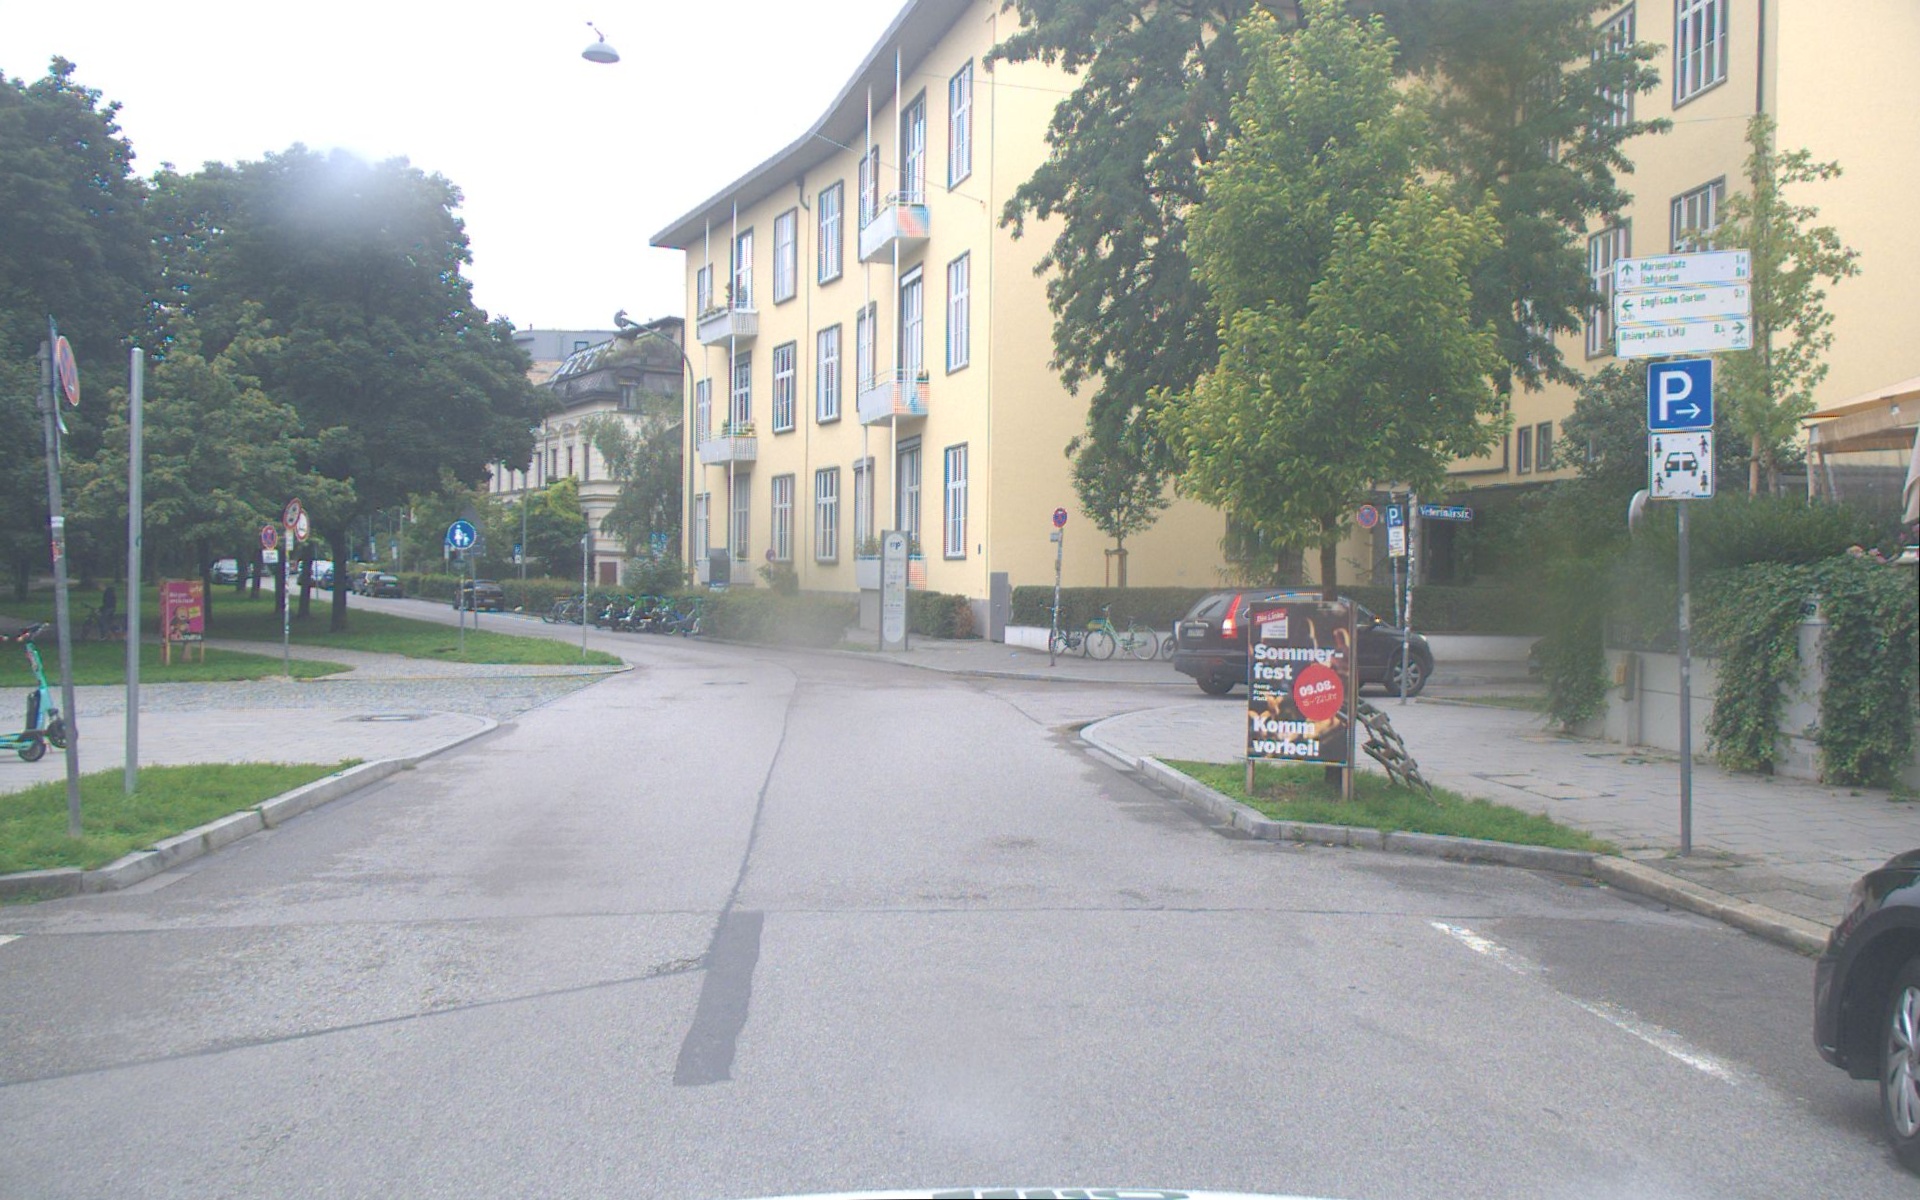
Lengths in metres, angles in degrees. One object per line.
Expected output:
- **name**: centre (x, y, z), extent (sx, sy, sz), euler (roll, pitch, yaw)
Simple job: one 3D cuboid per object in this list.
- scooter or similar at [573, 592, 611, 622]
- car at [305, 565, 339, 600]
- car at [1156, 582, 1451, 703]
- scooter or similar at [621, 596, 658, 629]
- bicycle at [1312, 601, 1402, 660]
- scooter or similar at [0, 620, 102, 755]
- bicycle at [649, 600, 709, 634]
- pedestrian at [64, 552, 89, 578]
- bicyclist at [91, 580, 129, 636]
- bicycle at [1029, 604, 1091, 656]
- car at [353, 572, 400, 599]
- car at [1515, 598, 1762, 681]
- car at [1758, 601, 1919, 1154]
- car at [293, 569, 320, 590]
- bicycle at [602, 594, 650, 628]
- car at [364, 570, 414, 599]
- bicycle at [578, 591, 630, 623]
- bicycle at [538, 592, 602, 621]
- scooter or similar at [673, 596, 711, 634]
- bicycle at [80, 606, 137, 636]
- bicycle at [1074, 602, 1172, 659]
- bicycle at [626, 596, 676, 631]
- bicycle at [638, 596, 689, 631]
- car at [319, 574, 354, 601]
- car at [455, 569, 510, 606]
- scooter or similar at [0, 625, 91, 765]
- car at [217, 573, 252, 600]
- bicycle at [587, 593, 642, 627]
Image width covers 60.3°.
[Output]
- **scooter or similar**: centre (-13.907, 0.262, 62.553), extent (1.379, 1.107, 0.595), euler (-1, 1, -11)
- **car**: centre (-48.636, -1.346, 126.050), extent (1.854, 2.613, 4.886), euler (0, 0, -28)
- **car**: centre (5.495, 0.614, 26.485), extent (4.309, 1.723, 1.987), euler (-1, 1, -24)
- **scooter or similar**: centre (-10.807, 0.414, 55.762), extent (0.485, 1.107, 1.409), euler (0, 1, 25)
- **bicycle**: centre (8.071, 0.616, 33.658), extent (1.699, 1.170, 0.610), euler (1, 0, 1)
- **scooter or similar**: centre (-9.070, 0.842, 16.100), extent (0.437, 1.241, 1.178), euler (-2, 0, 34)
- **bicycle**: centre (-8.943, 0.533, 52.710), extent (1.804, 1.023, 0.571), euler (-1, 1, -31)
- **pedestrian**: centre (-67.497, -2.668, 126.314), extent (1.012, 1.979, 1.326), euler (0, 1, 27)
- **bicyclist**: centre (-22.691, 0.216, 44.168), extent (0.614, 1.486, 0.646), euler (1, 0, 8)
- **bicycle**: centre (2.232, 0.664, 37.289), extent (0.599, 1.091, 2.205), euler (-1, 1, -19)
- **car**: centre (-37.153, -0.922, 105.172), extent (2.152, 1.686, 4.463), euler (0, 1, -29)
- **car**: centre (12.468, 0.709, 30.510), extent (3.896, 1.461, 1.605), euler (0, 0, -2)
- **car**: centre (3.693, 0.861, 3.536), extent (1.671, 1.544, 3.953), euler (5, 0, -6)
- **car**: centre (-53.822, -1.697, 136.184), extent (1.625, 1.681, 4.246), euler (0, 1, -27)
- **bicycle**: centre (-11.315, 0.354, 56.087), extent (0.624, 1.104, 1.986), euler (0, 1, 21)
- **car**: centre (-34.478, -0.930, 99.764), extent (2.152, 1.686, 4.463), euler (0, 1, -29)
- **bicycle**: centre (-12.583, 0.239, 58.542), extent (0.747, 1.104, 2.141), euler (0, 1, 21)
- **bicycle**: centre (-15.130, 0.243, 64.187), extent (2.310, 1.104, 0.685), euler (-1, 1, -34)
- **scooter or similar**: centre (-8.326, 0.464, 51.440), extent (0.485, 1.128, 1.409), euler (0, 1, 25)
- **bicycle**: centre (-22.751, 0.563, 44.198), extent (1.327, 0.789, 0.440), euler (1, 0, 8)
- **bicycle**: centre (3.441, 0.628, 35.093), extent (0.605, 1.136, 2.181), euler (0, 1, -44)
- **bicycle**: centre (-10.336, 0.447, 55.421), extent (0.565, 1.104, 1.930), euler (0, 1, 28)
- **bicycle**: centre (-9.831, 0.438, 54.877), extent (0.565, 1.104, 1.930), euler (0, 1, 28)
- **car**: centre (-44.385, -0.911, 117.695), extent (1.854, 1.847, 3.963), euler (0, 0, -28)
- **car**: centre (-22.435, -0.592, 77.579), extent (1.840, 1.662, 4.249), euler (0, 1, -25)
- **scooter or similar**: centre (-8.816, 0.879, 15.330), extent (1.154, 1.241, 0.602), euler (-2, 0, -1)
- **car**: centre (-50.395, -0.943, 114.816), extent (1.971, 1.870, 3.963), euler (0, 0, -28)
- **bicycle**: centre (-11.844, 0.345, 56.797), extent (0.681, 1.104, 2.339), euler (0, 1, 21)
